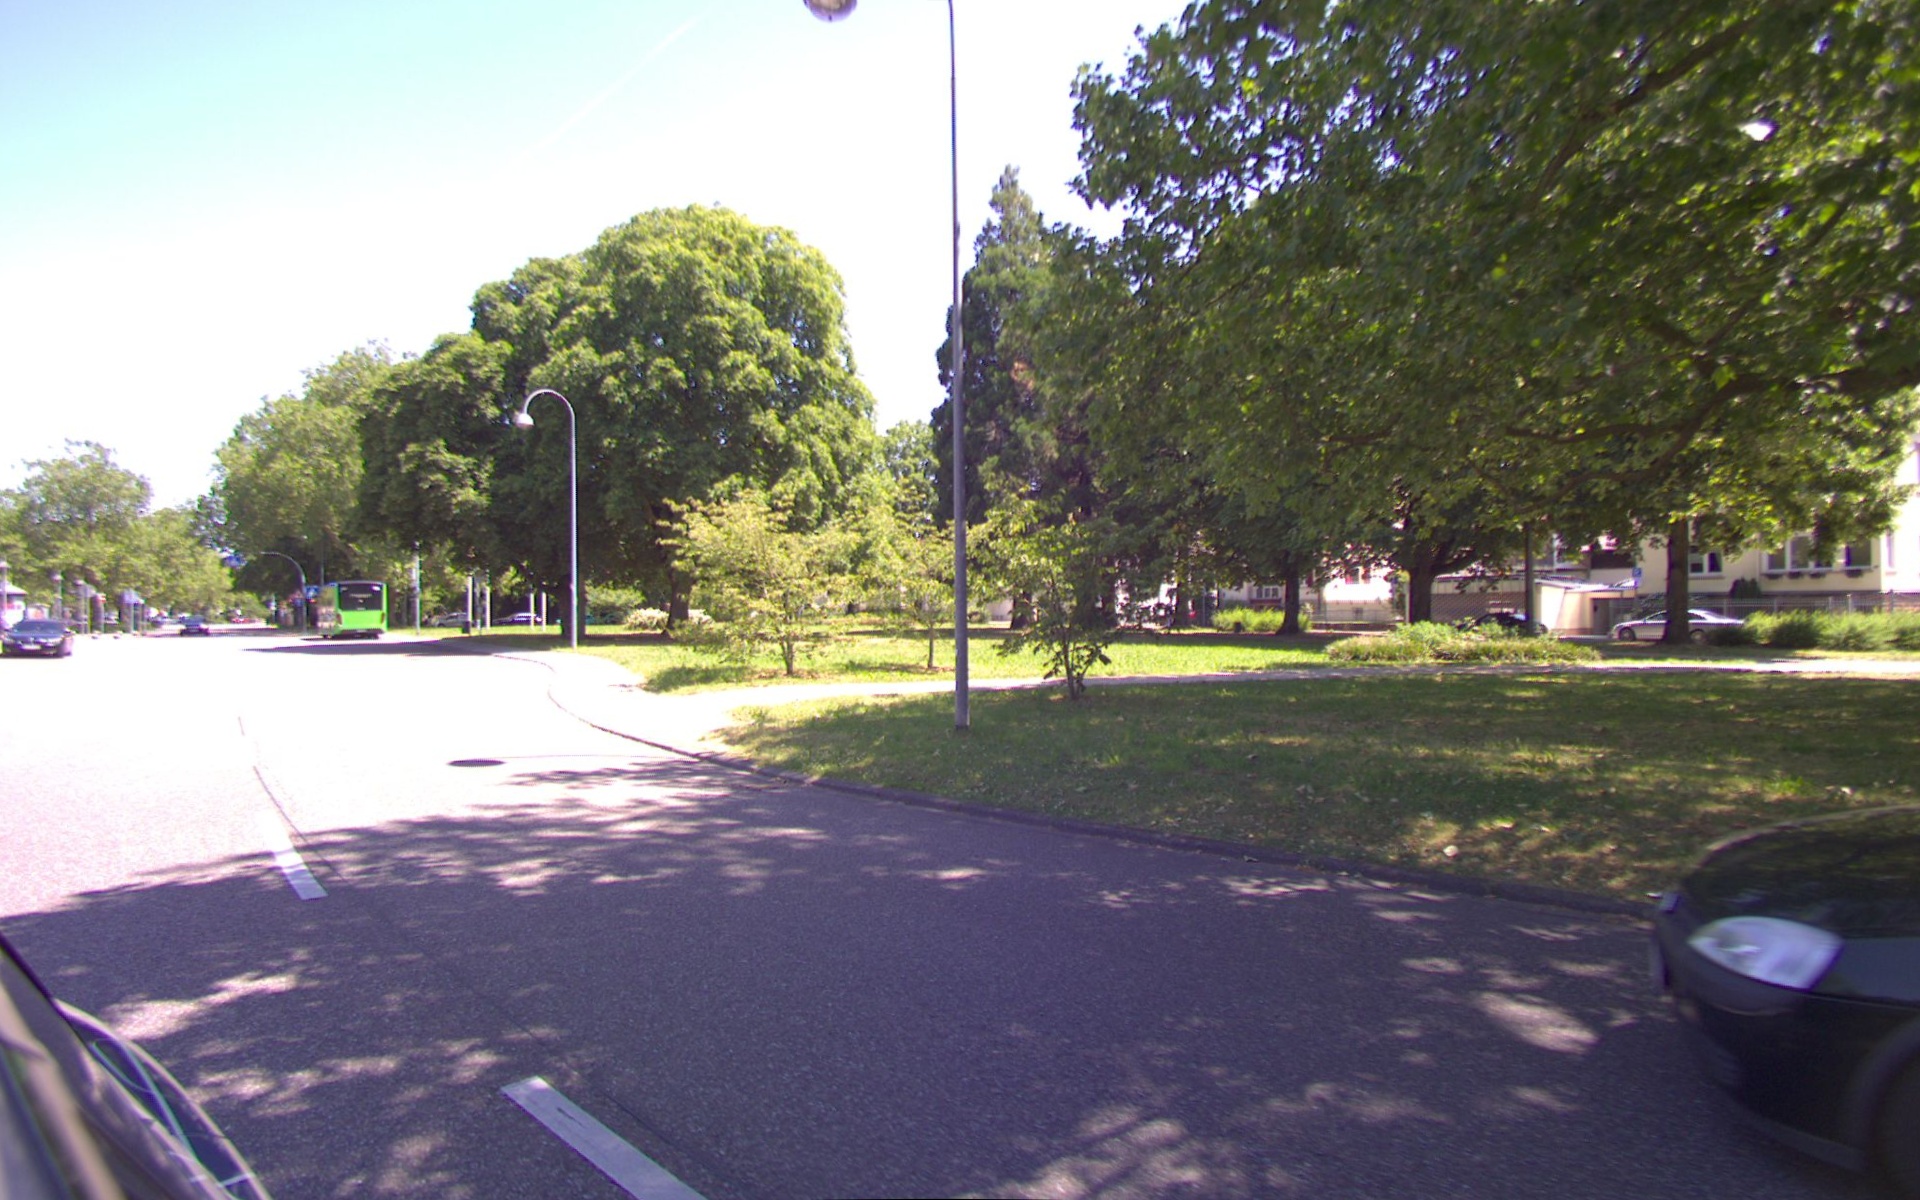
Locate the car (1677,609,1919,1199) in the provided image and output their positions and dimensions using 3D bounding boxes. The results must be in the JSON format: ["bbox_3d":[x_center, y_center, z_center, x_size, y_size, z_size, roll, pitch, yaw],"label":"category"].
[{"bbox_3d":[4.017,0.720,2.079,3.986,1.428,1.628,-2,-3,32],"label":"car"}]

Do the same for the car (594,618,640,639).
[{"bbox_3d":[-34.705,2.854,102.411,3.934,2.029,2.005,0,-1,-36],"label":"car"}]

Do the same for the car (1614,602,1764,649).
[{"bbox_3d":[29.619,1.009,41.281,1.965,1.792,4.521,0,-1,-25],"label":"car"}]

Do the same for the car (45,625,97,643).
[{"bbox_3d":[-90.429,3.457,102.974,3.939,1.677,2.002,0,-1,-43],"label":"car"}]

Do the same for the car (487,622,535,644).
[{"bbox_3d":[-42.646,3.110,96.189,3.933,2.029,2.005,0,-1,-33],"label":"car"}]

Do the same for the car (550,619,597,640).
[{"bbox_3d":[-38.098,2.906,99.779,3.934,2.029,2.005,0,-1,-36],"label":"car"}]

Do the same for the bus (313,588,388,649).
[{"bbox_3d":[-36.853,1.106,60.940,2.770,3.328,11.884,0,-1,-36],"label":"bus"}]

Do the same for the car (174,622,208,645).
[{"bbox_3d":[-54.879,2.388,72.300,1.750,1.557,4.193,2,-2,-35],"label":"car"}]

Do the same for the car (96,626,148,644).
[{"bbox_3d":[-84.719,3.513,102.309,3.939,1.677,2.002,0,-1,-43],"label":"car"}]

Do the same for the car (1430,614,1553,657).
[{"bbox_3d":[23.988,1.565,45.836,1.967,1.792,4.518,0,-1,-35],"label":"car"}]

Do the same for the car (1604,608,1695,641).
[{"bbox_3d":[34.927,1.226,51.263,3.930,1.597,2.007,-1,-1,-24],"label":"car"}]

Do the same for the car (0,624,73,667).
[{"bbox_3d":[-35.412,1.716,38.733,1.750,1.557,4.193,2,-2,-35],"label":"car"}]

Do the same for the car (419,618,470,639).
[{"bbox_3d":[-47.593,2.629,93.452,3.933,1.817,2.005,0,-1,-33],"label":"car"}]
